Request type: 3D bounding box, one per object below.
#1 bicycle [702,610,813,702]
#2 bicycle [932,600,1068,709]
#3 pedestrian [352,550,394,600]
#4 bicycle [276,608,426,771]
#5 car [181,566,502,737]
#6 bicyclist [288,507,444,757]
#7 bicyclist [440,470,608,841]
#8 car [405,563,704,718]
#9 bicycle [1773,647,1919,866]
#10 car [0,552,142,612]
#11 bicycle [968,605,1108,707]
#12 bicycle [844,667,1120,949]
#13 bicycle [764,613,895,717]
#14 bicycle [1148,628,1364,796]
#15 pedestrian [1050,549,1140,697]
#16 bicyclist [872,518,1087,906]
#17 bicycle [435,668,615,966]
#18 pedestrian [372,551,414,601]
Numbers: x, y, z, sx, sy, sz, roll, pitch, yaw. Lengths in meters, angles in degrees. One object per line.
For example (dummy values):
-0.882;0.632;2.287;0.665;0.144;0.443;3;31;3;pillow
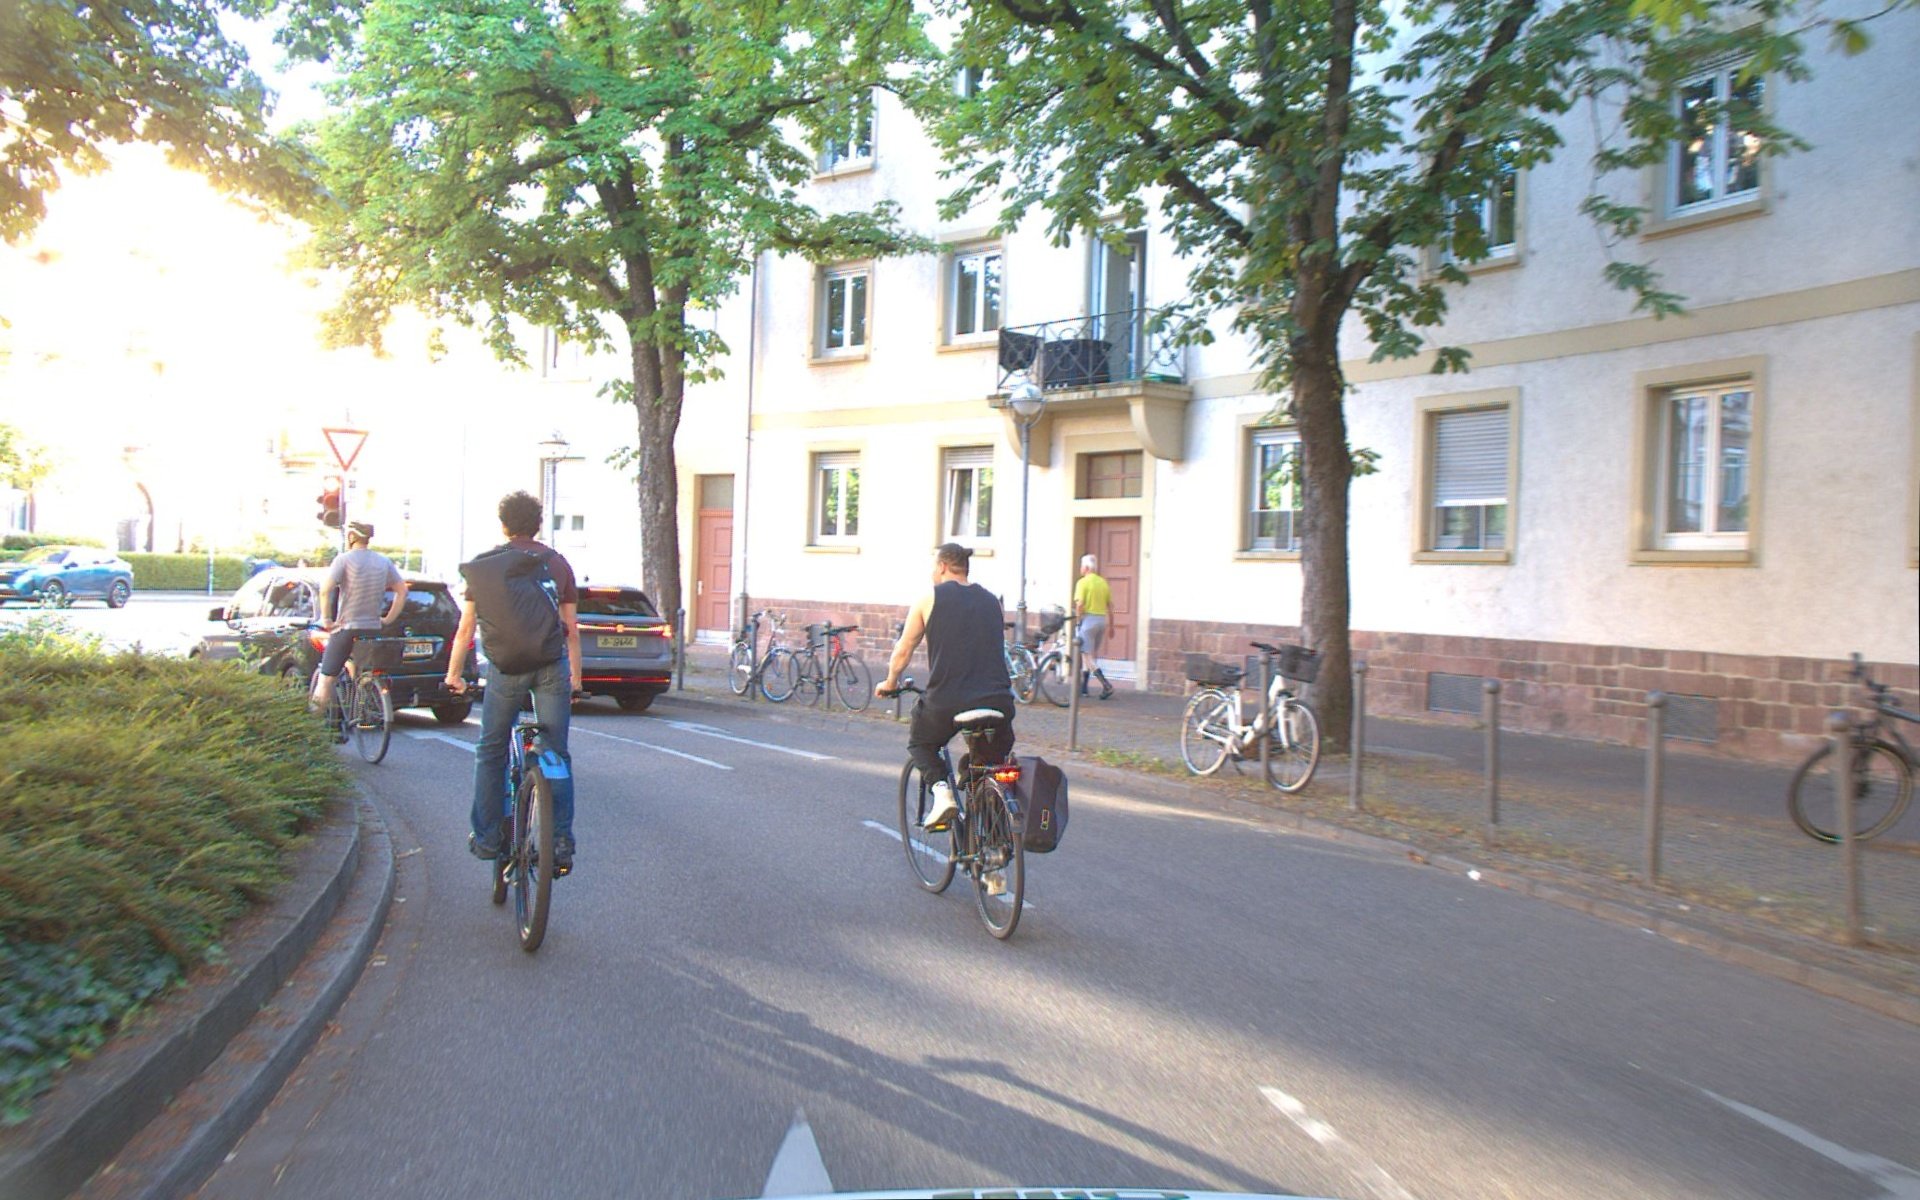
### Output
-2.541;0.667;20.535;0.515;1.016;2.168;2;0;-31;bicycle
0.453;0.623;20.022;0.490;1.192;2.091;-3;3;-35;bicycle
-24.389;-1.035;68.722;1.133;1.996;1.388;2;0;5;pedestrian
-5.037;0.696;13.603;0.593;1.182;2.015;2;0;-37;bicycle
-6.502;0.429;17.186;1.804;1.570;3.897;-1;2;-43;car
-4.861;0.238;13.517;0.845;1.931;1.124;1;1;-39;bicyclist
-1.972;0.230;7.472;0.660;1.541;1.064;1;0;-16;bicyclist
-4.933;0.423;19.802;1.880;1.605;3.942;2;1;-41;car
5.731;0.898;9.495;0.666;1.203;1.798;-1;0;-37;bicycle
-24.337;-0.488;44.440;1.951;1.522;4.378;2;0;10;car
0.929;0.659;20.383;0.577;1.133;2.092;1;1;-34;bicycle
0.030;0.913;7.915;0.726;1.029;2.052;3;1;-16;bicycle
-1.548;0.732;19.307;0.611;1.076;1.904;-1;2;-36;bicycle
2.301;0.838;13.139;0.609;1.132;1.974;-2;2;-27;bicycle
1.718;0.272;21.039;0.648;1.826;0.991;2;1;44;pedestrian
0.070;0.496;7.831;0.740;1.711;0.909;2;0;-17;bicyclist
-1.970;0.880;7.444;0.663;1.072;2.052;1;-1;-16;bicycle
-23.420;-0.975;68.323;1.133;1.996;1.388;2;0;5;pedestrian
